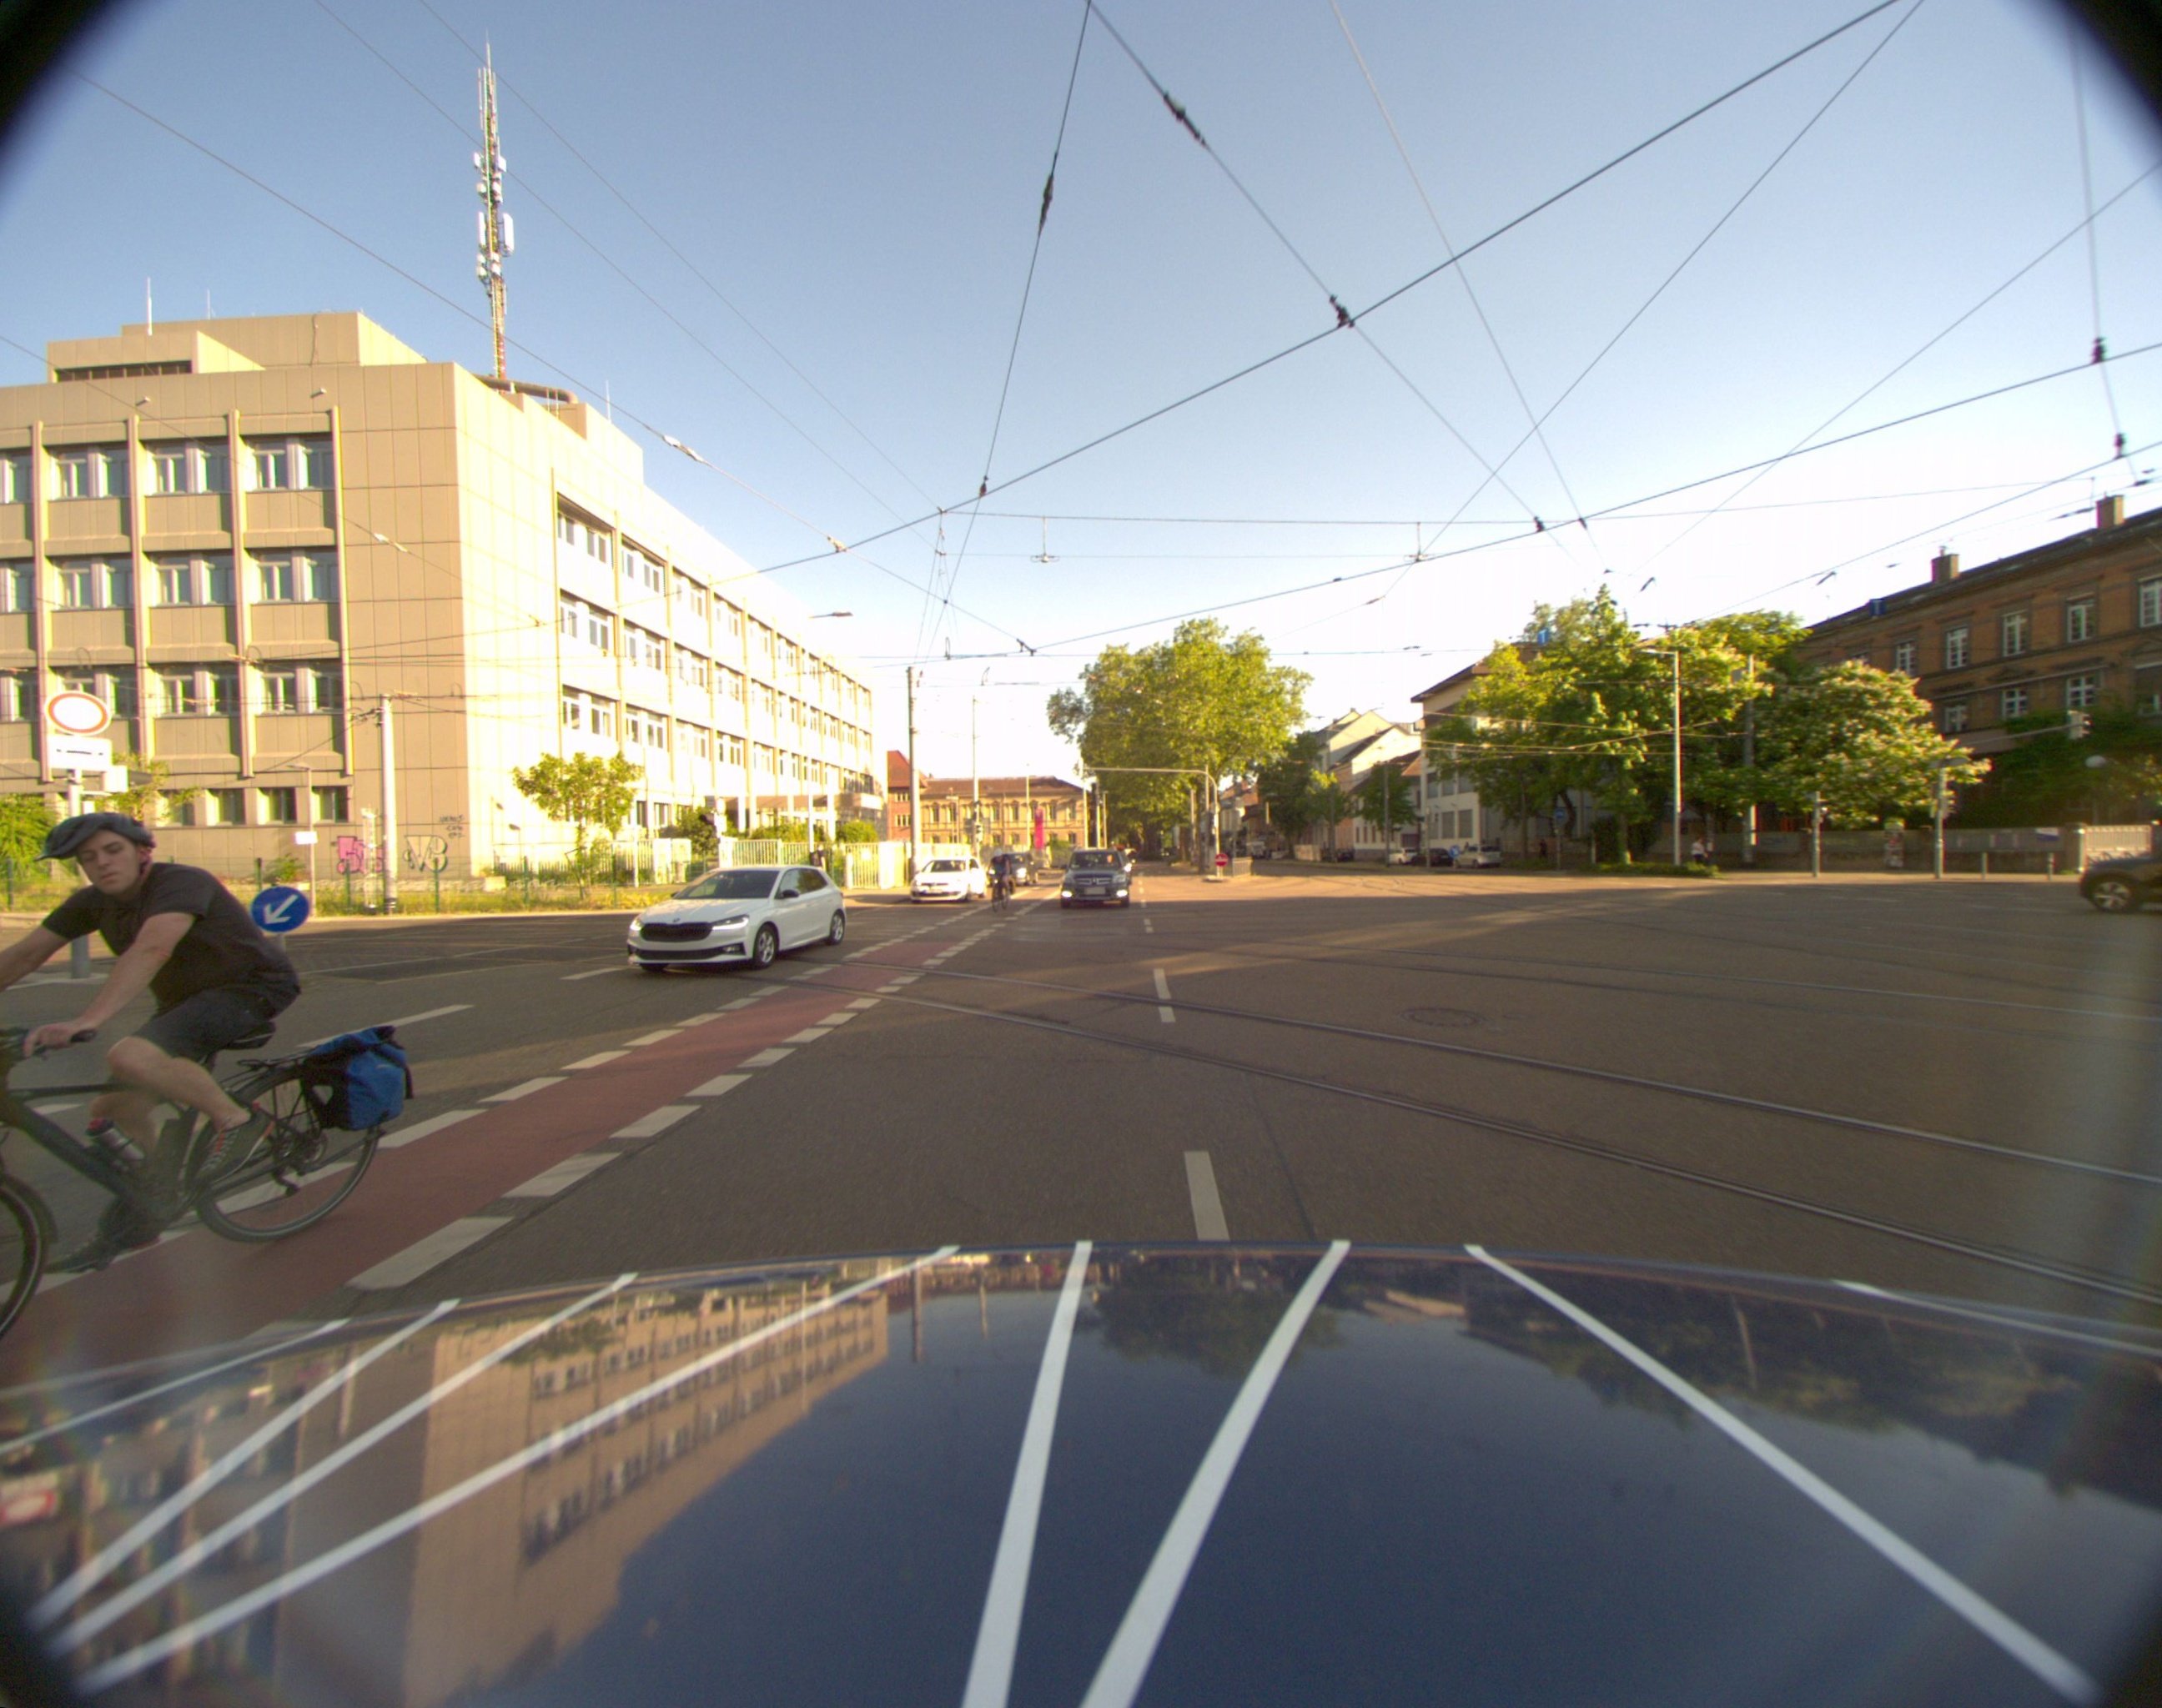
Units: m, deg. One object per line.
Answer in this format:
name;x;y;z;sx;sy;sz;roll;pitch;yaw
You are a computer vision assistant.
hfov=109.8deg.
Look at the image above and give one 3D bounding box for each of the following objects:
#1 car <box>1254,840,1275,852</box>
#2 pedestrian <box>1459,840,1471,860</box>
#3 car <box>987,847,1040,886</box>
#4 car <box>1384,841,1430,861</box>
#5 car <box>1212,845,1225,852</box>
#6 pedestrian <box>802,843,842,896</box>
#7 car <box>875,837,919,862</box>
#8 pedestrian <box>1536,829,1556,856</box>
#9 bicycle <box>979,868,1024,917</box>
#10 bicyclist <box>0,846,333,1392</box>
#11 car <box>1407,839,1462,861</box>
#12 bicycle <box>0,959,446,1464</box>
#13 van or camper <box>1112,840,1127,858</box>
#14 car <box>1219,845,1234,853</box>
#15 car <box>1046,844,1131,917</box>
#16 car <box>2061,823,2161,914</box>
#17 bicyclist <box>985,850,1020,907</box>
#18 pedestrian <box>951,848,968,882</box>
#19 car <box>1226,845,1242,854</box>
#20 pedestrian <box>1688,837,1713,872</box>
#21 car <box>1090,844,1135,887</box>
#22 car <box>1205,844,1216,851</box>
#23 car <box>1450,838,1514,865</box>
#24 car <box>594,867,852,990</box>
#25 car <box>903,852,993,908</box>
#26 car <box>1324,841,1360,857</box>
car;29.371;-1.313;121.674;2.087;1.664;4.532;-4;1;0
pedestrian;29.438;-0.305;58.220;0.537;1.519;0.711;-1;1;-4
car;-3.151;0.550;36.163;1.793;1.634;4.301;-4;1;4
car;27.114;-0.267;63.373;2.087;1.481;3.997;-4;1;0
car;30.097;-1.245;166.590;2.087;1.531;4.038;-4;1;0
pedestrian;-9.122;0.530;26.780;1.084;1.802;0.734;-2;2;-40
car;-14.602;-0.381;60.525;1.998;1.832;4.786;-1;1;3
pedestrian;30.368;-0.768;49.616;0.735;1.742;1.019;-1;1;1
bicycle;-2.050;0.967;19.950;0.764;1.138;2.307;-1;1;4
bicyclist;-3.446;0.775;2.572;0.651;1.594;1.089;-1;1;8
car;26.783;-0.290;57.755;2.087;1.493;4.457;-4;1;0
bicycle;-3.428;1.141;2.590;0.651;1.273;1.967;-1;1;8
van or camper;5.750;-0.789;113.152;1.998;2.578;5.627;-2;1;4
car;30.059;-1.069;157.632;2.087;1.531;5.104;-4;1;0
car;0.326;0.615;20.540;1.908;1.634;4.517;-4;1;4
car;20.676;0.256;13.153;1.960;1.663;4.260;-1;1;1
bicyclist;-2.056;0.627;19.986;0.727;1.414;0.859;-2;1;4
pedestrian;-6.302;0.563;39.399;0.592;1.752;0.770;-1;1;8
car;29.083;-0.891;144.561;2.087;1.531;4.516;-4;1;0
pedestrian;29.576;0.024;36.283;0.569;1.655;0.631;-4;1;1
car;1.457;0.439;33.989;1.793;1.694;4.301;-4;1;4
car;31.084;-1.488;182.437;2.087;1.531;4.255;-4;1;0
car;26.823;-0.198;51.020;2.087;1.610;4.098;-4;1;0
car;-5.063;0.962;11.473;1.705;1.381;4.075;-2;1;4
car;-4.176;0.763;24.524;1.793;1.493;4.301;-4;1;4
car;27.530;-0.514;80.291;2.087;1.462;4.579;-4;1;0
